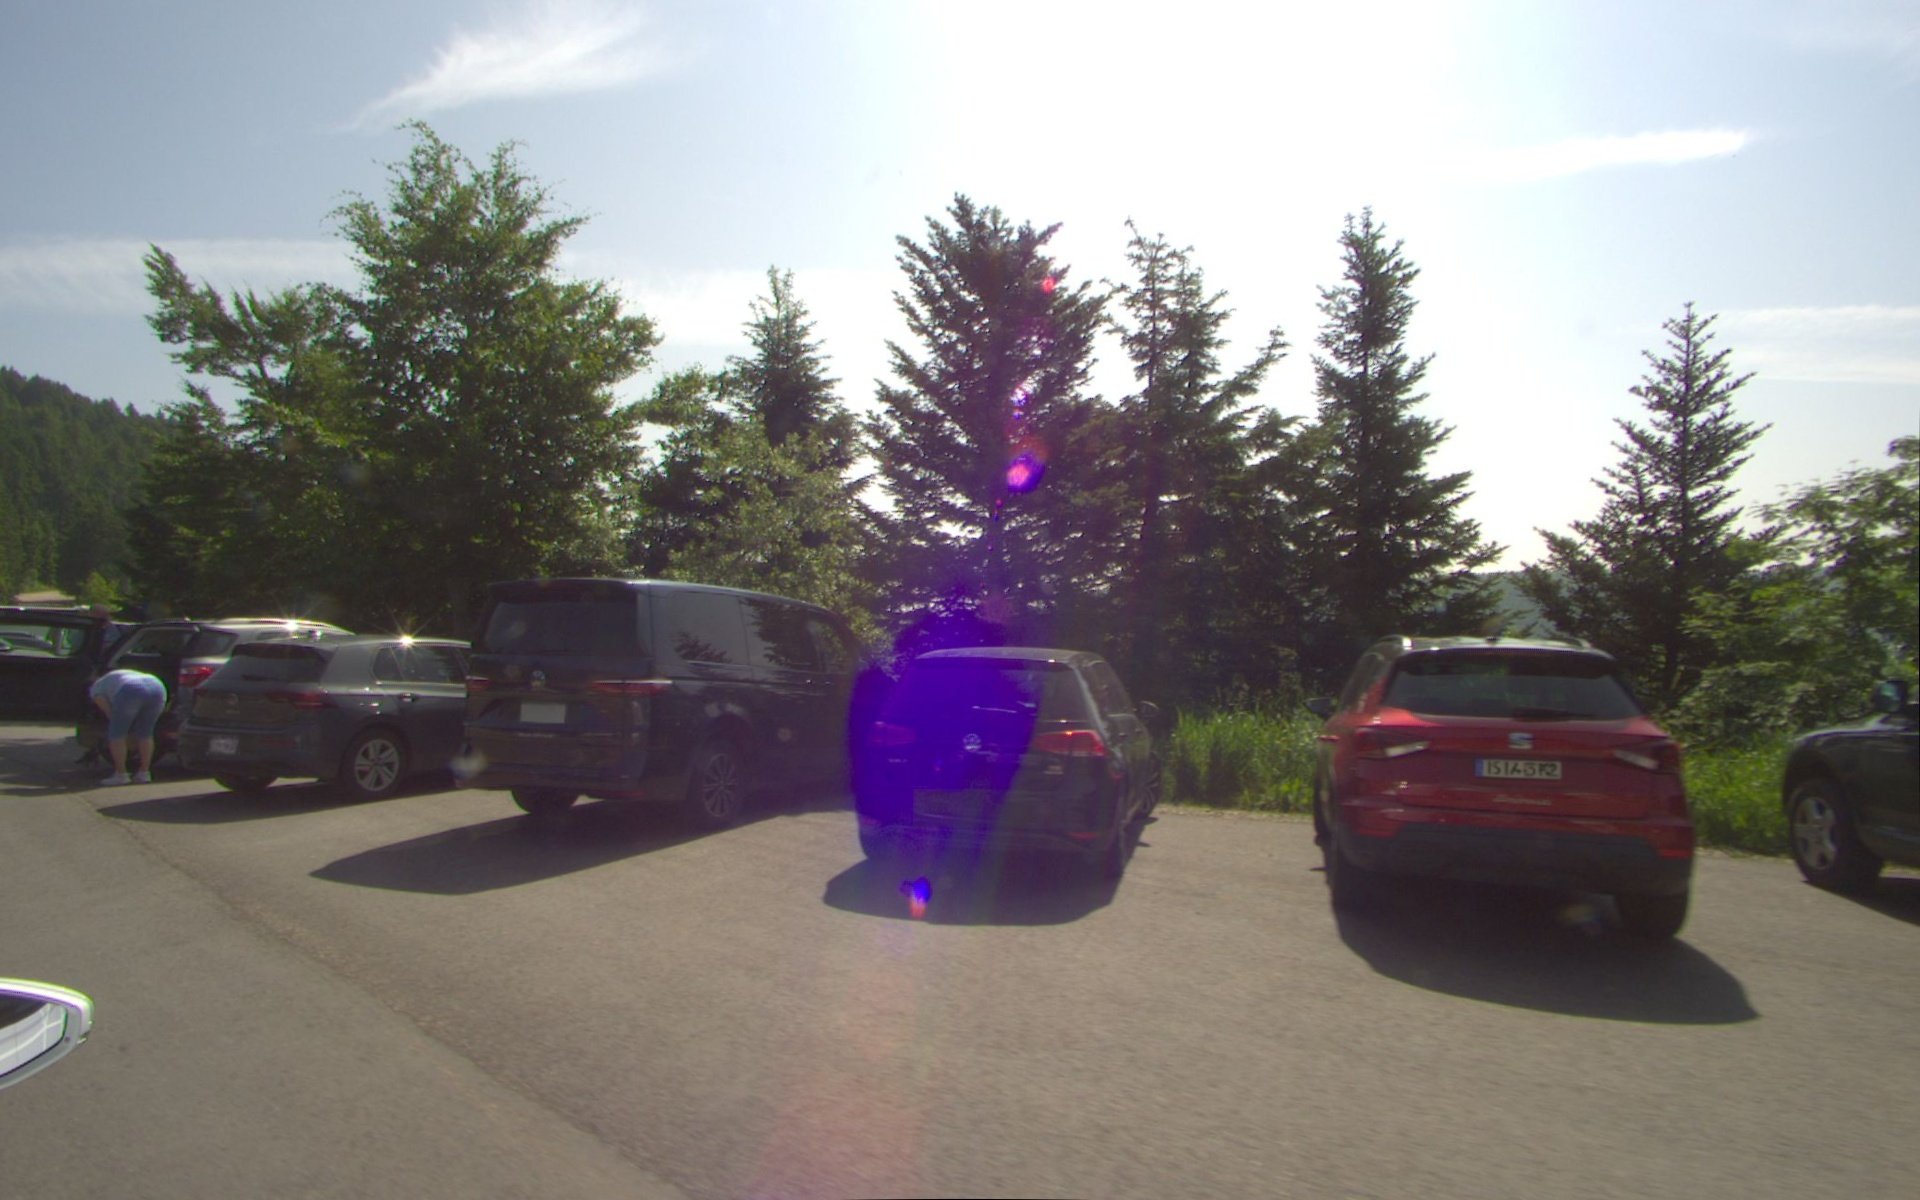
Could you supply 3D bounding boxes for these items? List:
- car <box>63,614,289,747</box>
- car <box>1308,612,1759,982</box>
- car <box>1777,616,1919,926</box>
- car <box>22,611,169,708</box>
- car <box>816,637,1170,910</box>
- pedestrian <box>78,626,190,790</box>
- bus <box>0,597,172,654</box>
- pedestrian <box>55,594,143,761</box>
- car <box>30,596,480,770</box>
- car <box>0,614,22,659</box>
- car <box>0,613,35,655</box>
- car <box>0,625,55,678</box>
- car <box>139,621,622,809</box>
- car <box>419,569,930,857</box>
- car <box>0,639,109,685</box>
[{"bbox_3d":[-11.480,1.129,14.566,4.260,1.651,1.737,-2,-6,41],"label":"car"},{"bbox_3d":[3.327,0.994,6.664,1.830,1.609,3.996,1,-3,19],"label":"car"},{"bbox_3d":[6.105,0.926,4.688,1.954,1.715,4.272,1,-3,15],"label":"car"},{"bbox_3d":[-20.045,1.335,23.153,4.766,1.996,1.897,-1,-5,42],"label":"car"},{"bbox_3d":[0.549,1.069,7.620,1.713,1.432,3.998,1,-3,16],"label":"car"},{"bbox_3d":[-7.727,0.970,9.370,0.768,1.422,0.663,-1,2,-42],"label":"pedestrian"},{"bbox_3d":[-61.123,1.728,67.081,12.728,3.626,2.963,2,1,-32],"label":"bus"},{"bbox_3d":[-9.597,0.860,11.183,0.573,1.782,0.629,4,-3,-34],"label":"pedestrian"},{"bbox_3d":[-8.025,0.999,11.952,1.963,1.681,4.003,1,-5,14],"label":"car"},{"bbox_3d":[-40.717,1.366,40.404,1.846,1.741,3.972,2,-4,42],"label":"car"},{"bbox_3d":[-45.133,1.471,45.794,1.919,1.836,3.969,2,-4,44],"label":"car"},{"bbox_3d":[-33.306,1.640,33.559,1.972,1.720,3.982,1,-4,34],"label":"car"},{"bbox_3d":[-5.533,1.041,10.212,1.807,1.460,3.995,1,-3,20],"label":"car"},{"bbox_3d":[-2.156,0.873,9.219,1.933,1.903,4.765,1,-3,23],"label":"car"},{"bbox_3d":[-29.389,1.896,30.905,1.556,1.314,4.460,1,-5,25],"label":"car"}]
